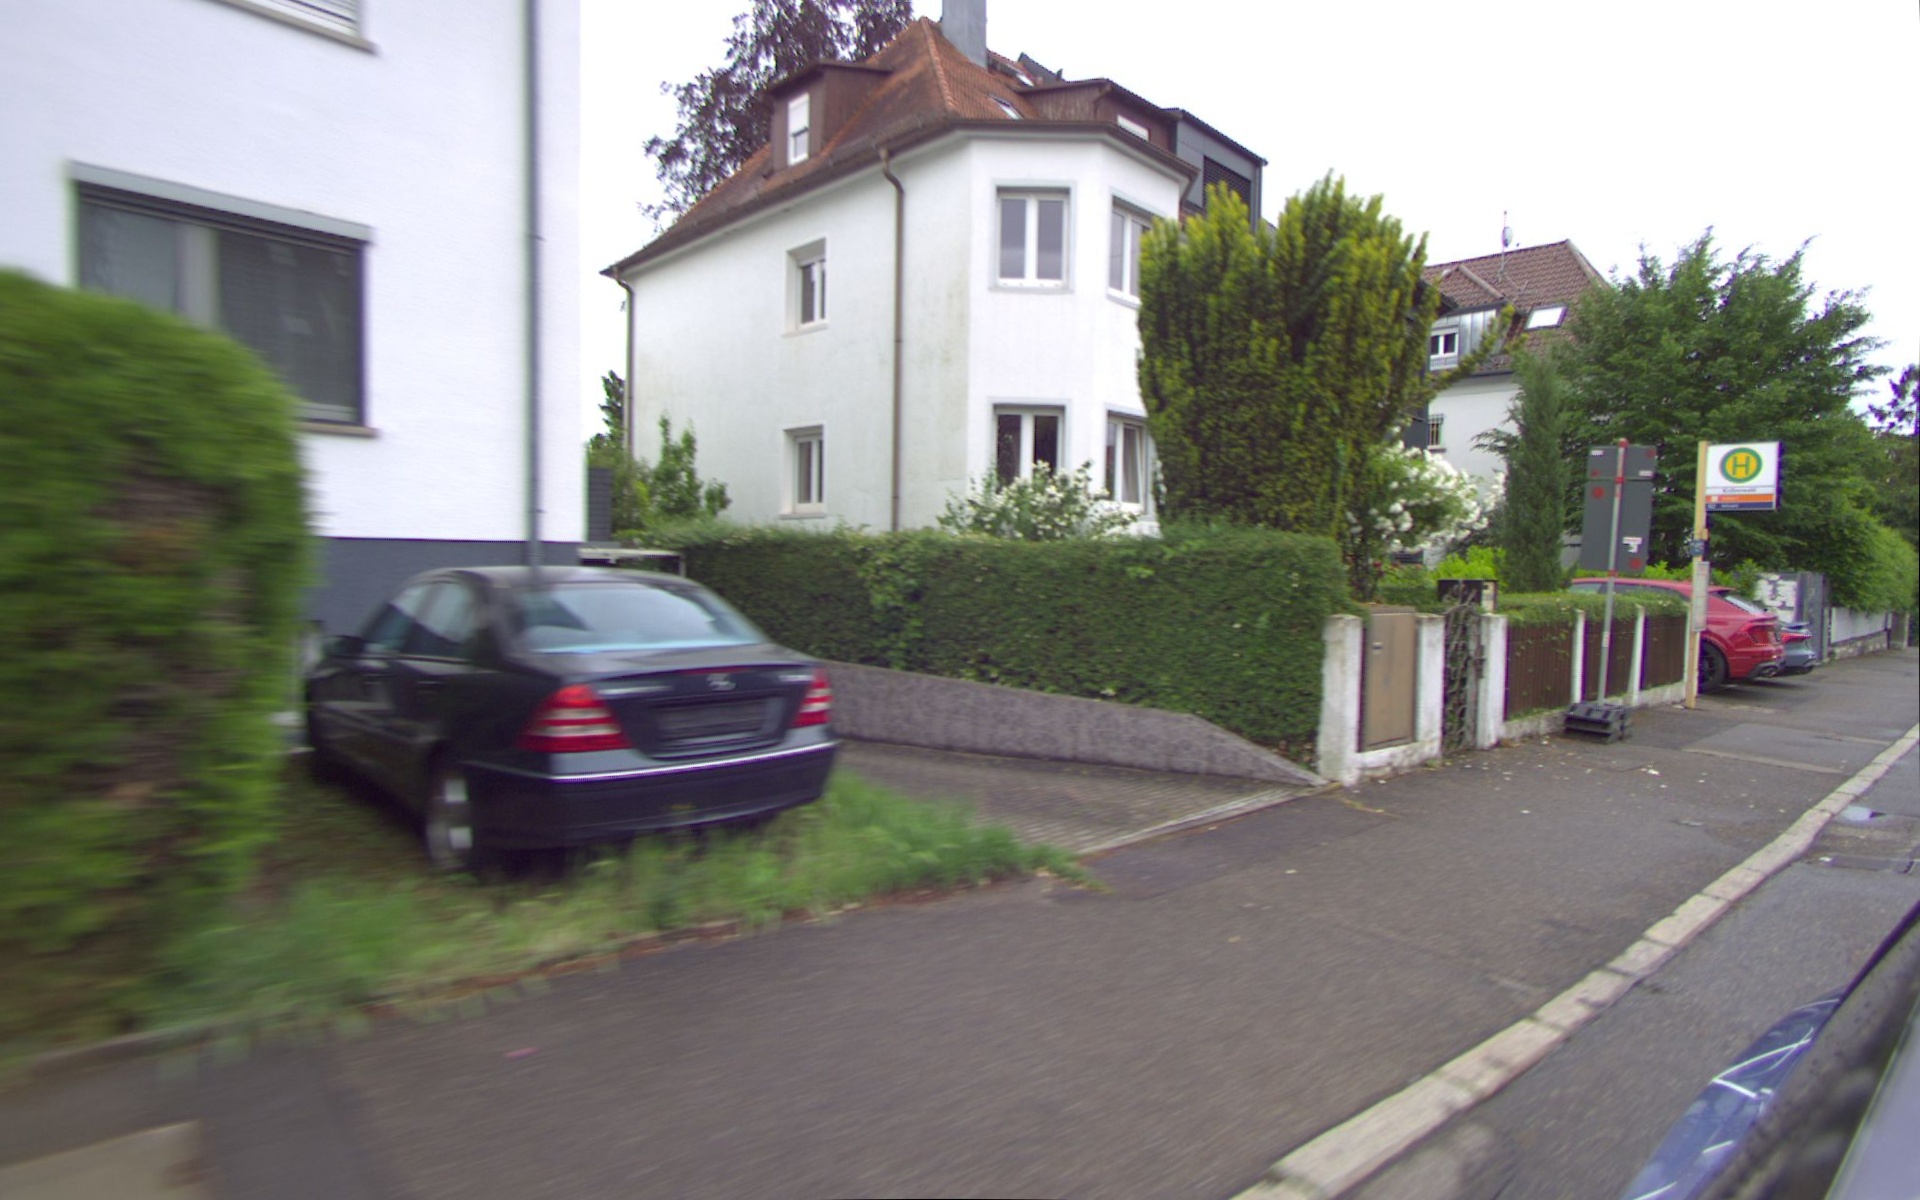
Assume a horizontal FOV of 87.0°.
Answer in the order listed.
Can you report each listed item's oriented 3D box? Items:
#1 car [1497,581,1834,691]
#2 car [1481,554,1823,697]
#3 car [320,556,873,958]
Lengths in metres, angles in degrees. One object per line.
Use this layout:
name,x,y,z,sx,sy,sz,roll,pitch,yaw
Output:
car,12.220,0.526,17.741,4.549,1.433,1.969,5,3,44
car,10.485,0.291,15.721,4.055,1.771,1.978,5,3,31
car,-2.277,0.549,5.677,1.588,1.405,3.750,3,1,-42
